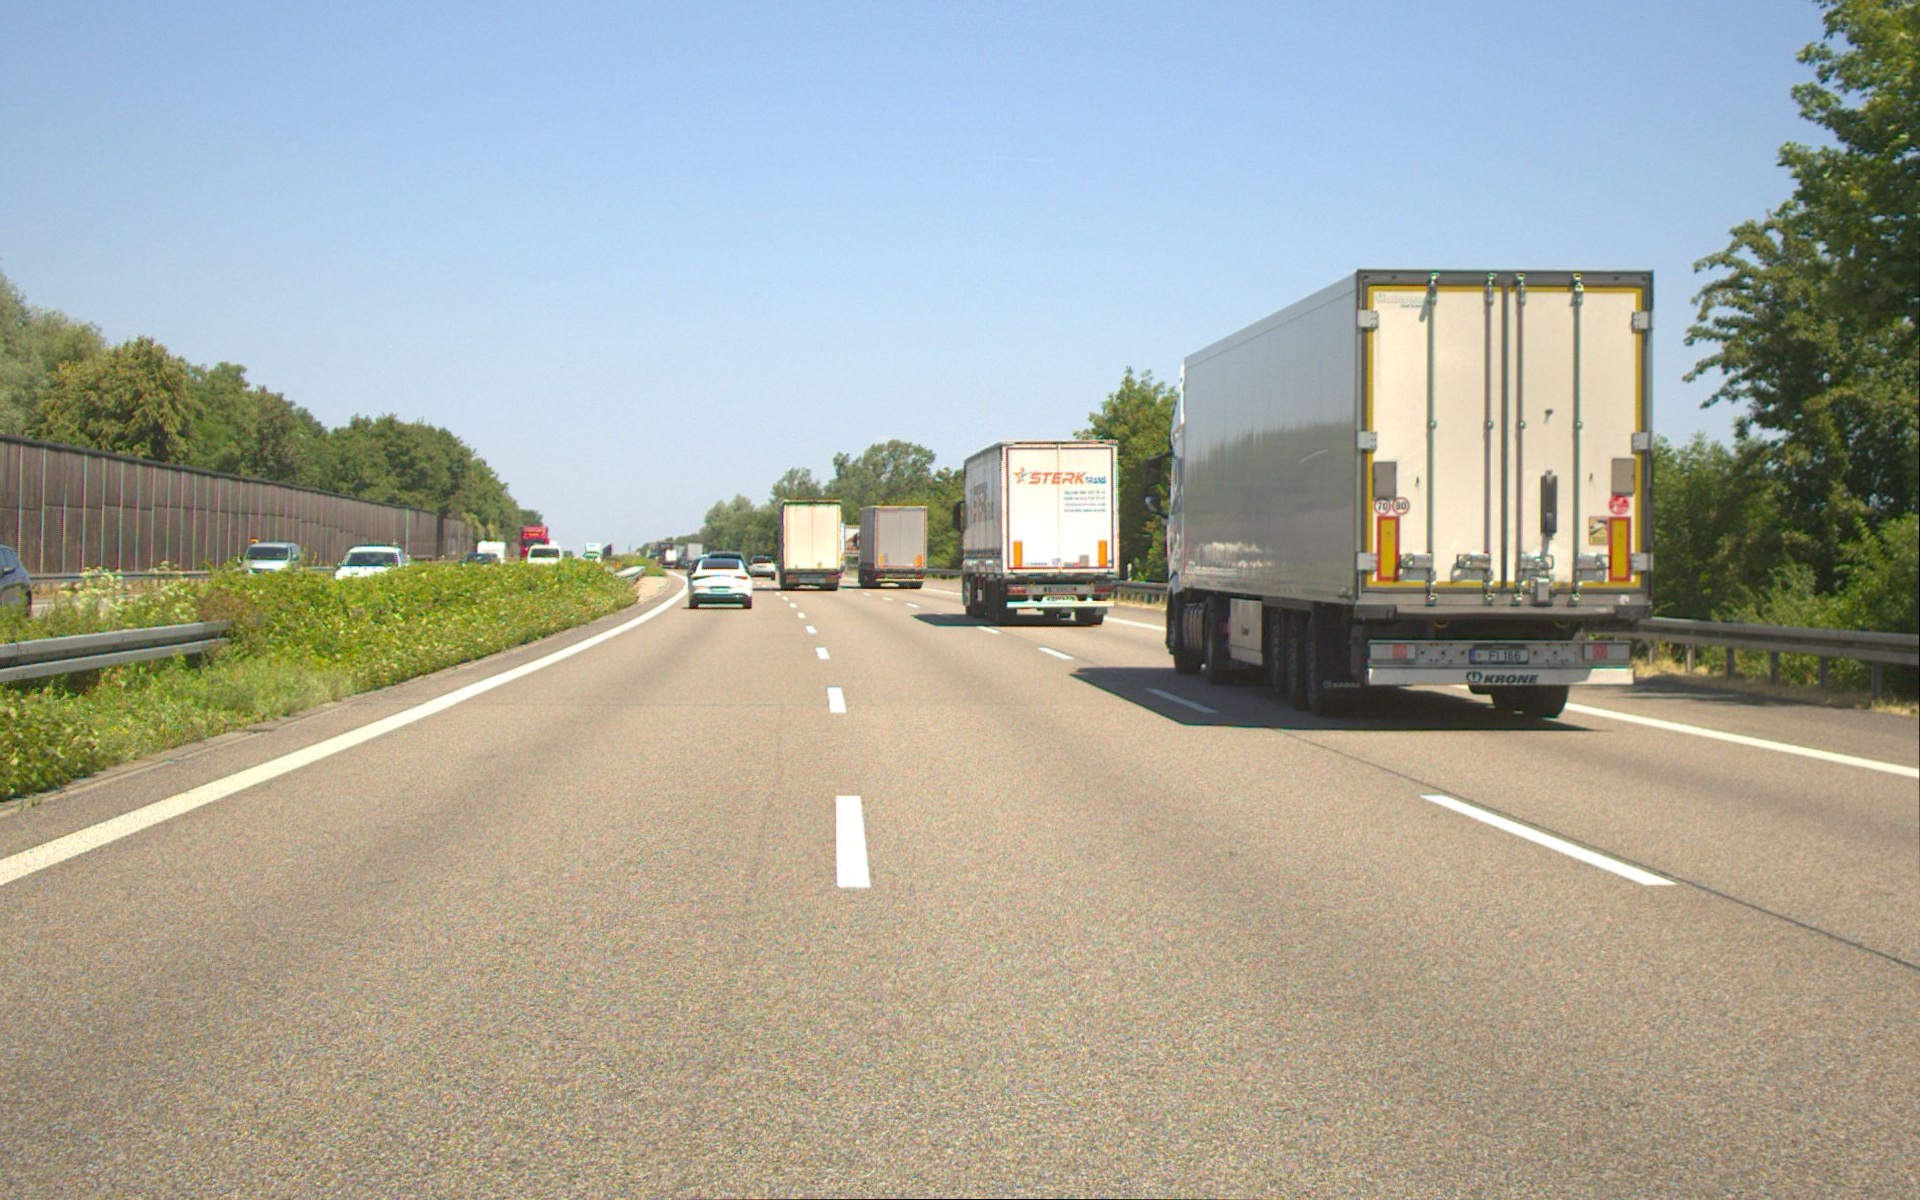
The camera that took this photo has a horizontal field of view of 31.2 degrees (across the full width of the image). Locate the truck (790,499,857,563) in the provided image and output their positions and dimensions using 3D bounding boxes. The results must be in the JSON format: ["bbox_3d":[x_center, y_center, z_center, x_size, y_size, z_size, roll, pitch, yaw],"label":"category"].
[{"bbox_3d":[-9.851,-4.922,246.235,3.373,4.289,11.452,4,0,-8],"label":"truck"}]

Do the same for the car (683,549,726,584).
[{"bbox_3d":[-11.984,-1.572,161.540,1.855,1.611,4.000,0,1,-2],"label":"car"}]

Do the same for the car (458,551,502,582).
[{"bbox_3d":[-26.265,-1.864,188.357,1.993,1.638,5.587,1,1,-4],"label":"car"}]

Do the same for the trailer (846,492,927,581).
[{"bbox_3d":[-3.752,-3.134,172.467,2.703,4.201,13.215,1,0,-7],"label":"trailer"}]

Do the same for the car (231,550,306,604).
[{"bbox_3d":[-26.498,-0.898,131.896,1.993,2.007,5.386,1,1,-3],"label":"car"}]

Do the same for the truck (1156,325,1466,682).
[{"bbox_3d":[4.230,-1.152,42.773,2.959,4.092,6.207,0,1,-2],"label":"truck"}]

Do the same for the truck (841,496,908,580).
[{"bbox_3d":[-4.486,-3.180,178.596,2.690,4.201,7.840,1,0,-7],"label":"truck"}]

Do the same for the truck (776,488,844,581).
[{"bbox_3d":[-7.062,-2.957,160.025,2.706,4.072,13.475,1,0,-4],"label":"truck"}]

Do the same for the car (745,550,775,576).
[{"bbox_3d":[-12.847,-2.384,221.245,1.855,1.611,4.000,0,1,-2],"label":"car"}]

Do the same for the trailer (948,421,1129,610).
[{"bbox_3d":[1.680,-1.907,81.678,2.707,4.074,14.153,1,1,-5],"label":"trailer"}]

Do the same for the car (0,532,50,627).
[{"bbox_3d":[-17.608,-0.387,60.794,1.993,1.641,4.693,0,1,-3],"label":"car"}]

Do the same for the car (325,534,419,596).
[{"bbox_3d":[-16.047,-0.976,94.002,1.993,1.641,5.046,0,1,-4],"label":"car"}]

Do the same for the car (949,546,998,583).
[{"bbox_3d":[0.585,-1.579,153.461,1.855,1.611,4.001,0,1,-5],"label":"car"}]

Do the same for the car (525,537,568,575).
[{"bbox_3d":[-21.980,-2.352,183.039,1.993,2.007,5.347,1,1,-4],"label":"car"}]

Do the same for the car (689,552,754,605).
[{"bbox_3d":[-6.969,-0.640,100.706,1.855,1.481,4.001,0,1,-4],"label":"car"}]

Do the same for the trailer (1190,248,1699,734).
[{"bbox_3d":[4.530,-1.002,35.390,2.959,4.092,12.534,0,1,-2],"label":"trailer"}]

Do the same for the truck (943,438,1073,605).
[{"bbox_3d":[1.153,-1.963,88.008,2.707,4.074,6.965,1,1,-4],"label":"truck"}]
